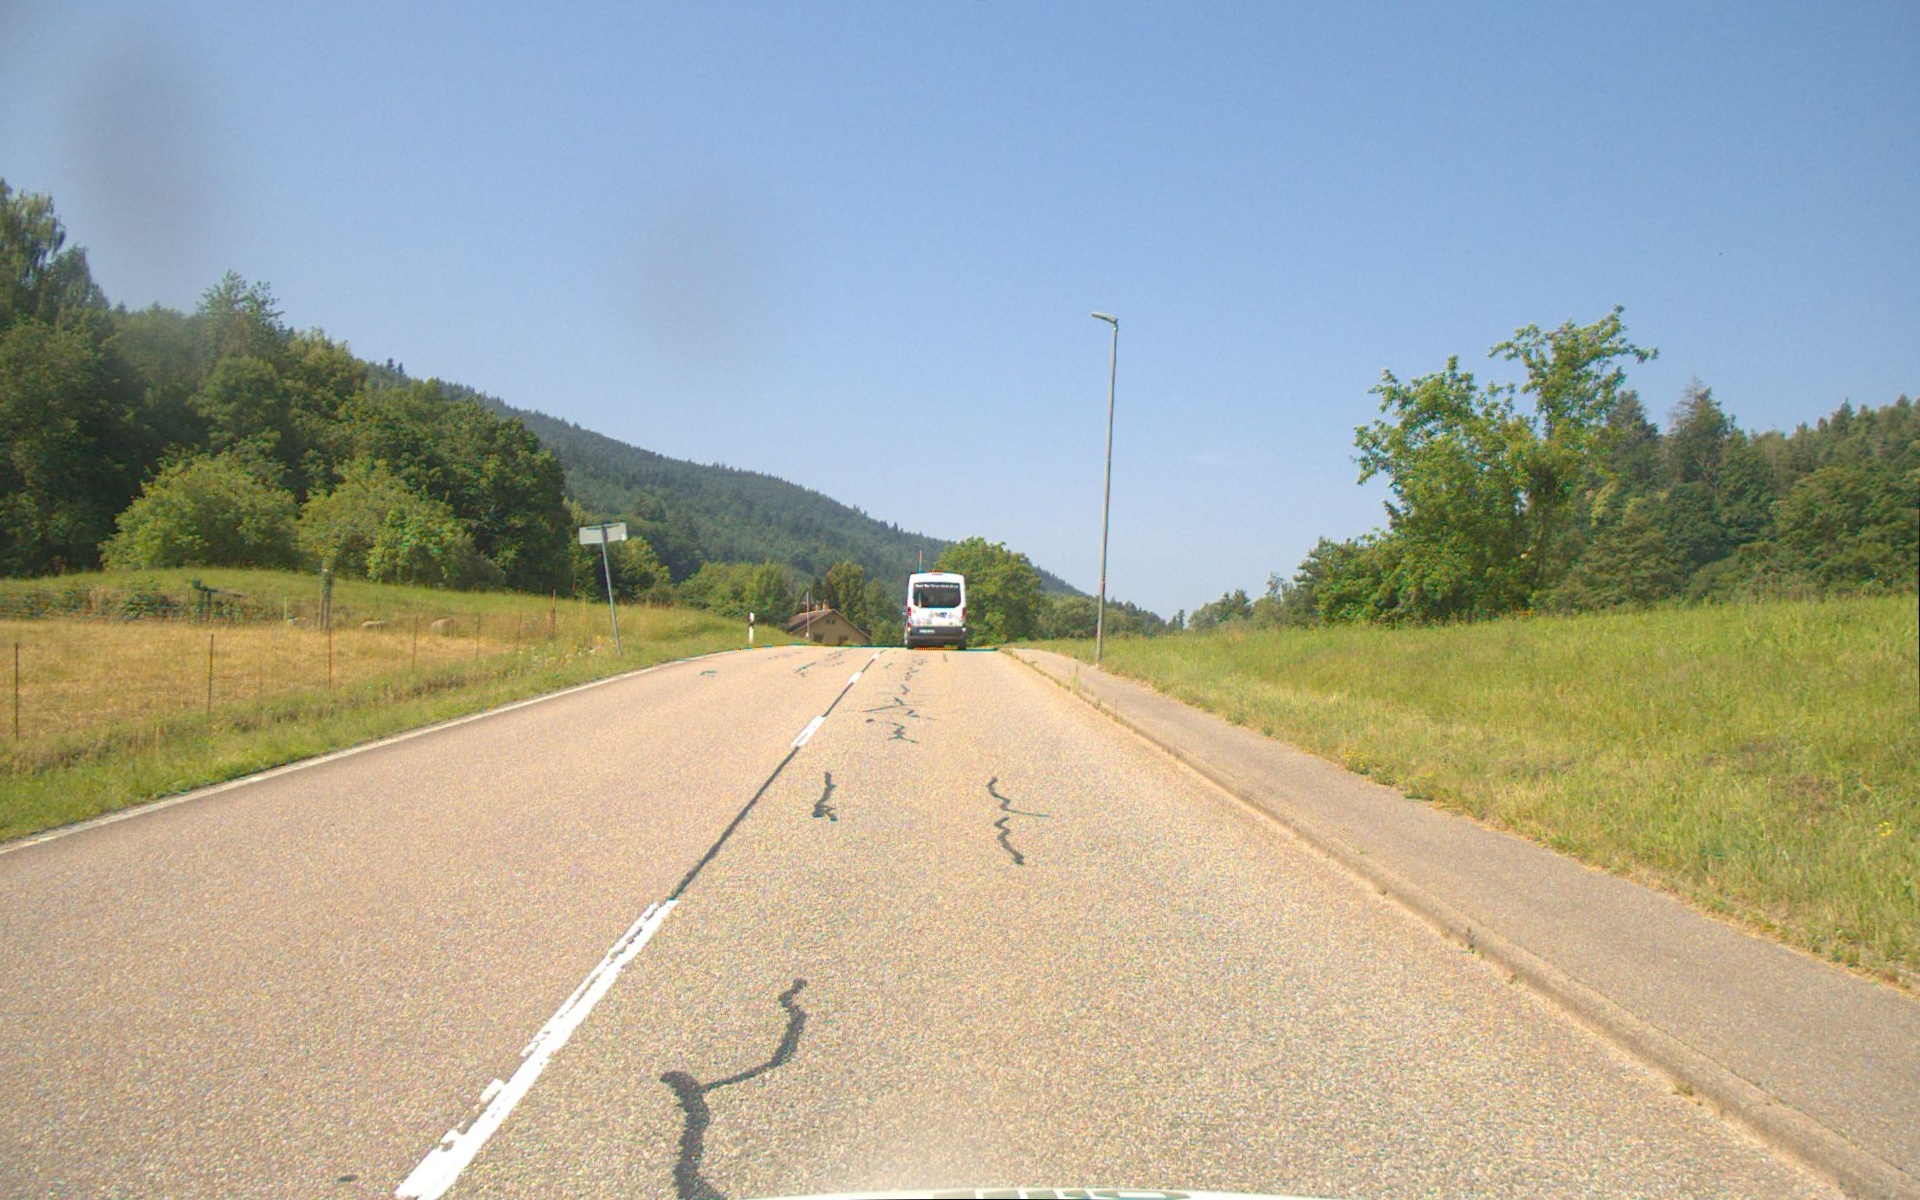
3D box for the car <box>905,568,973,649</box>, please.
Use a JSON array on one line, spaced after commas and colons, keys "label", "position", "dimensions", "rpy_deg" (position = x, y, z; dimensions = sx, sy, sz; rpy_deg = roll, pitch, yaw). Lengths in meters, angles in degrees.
[{"label": "car", "position": [-0.737, 0.349, 56.004], "dimensions": [2.177, 2.570, 4.982], "rpy_deg": [-1, -2, -1]}]
